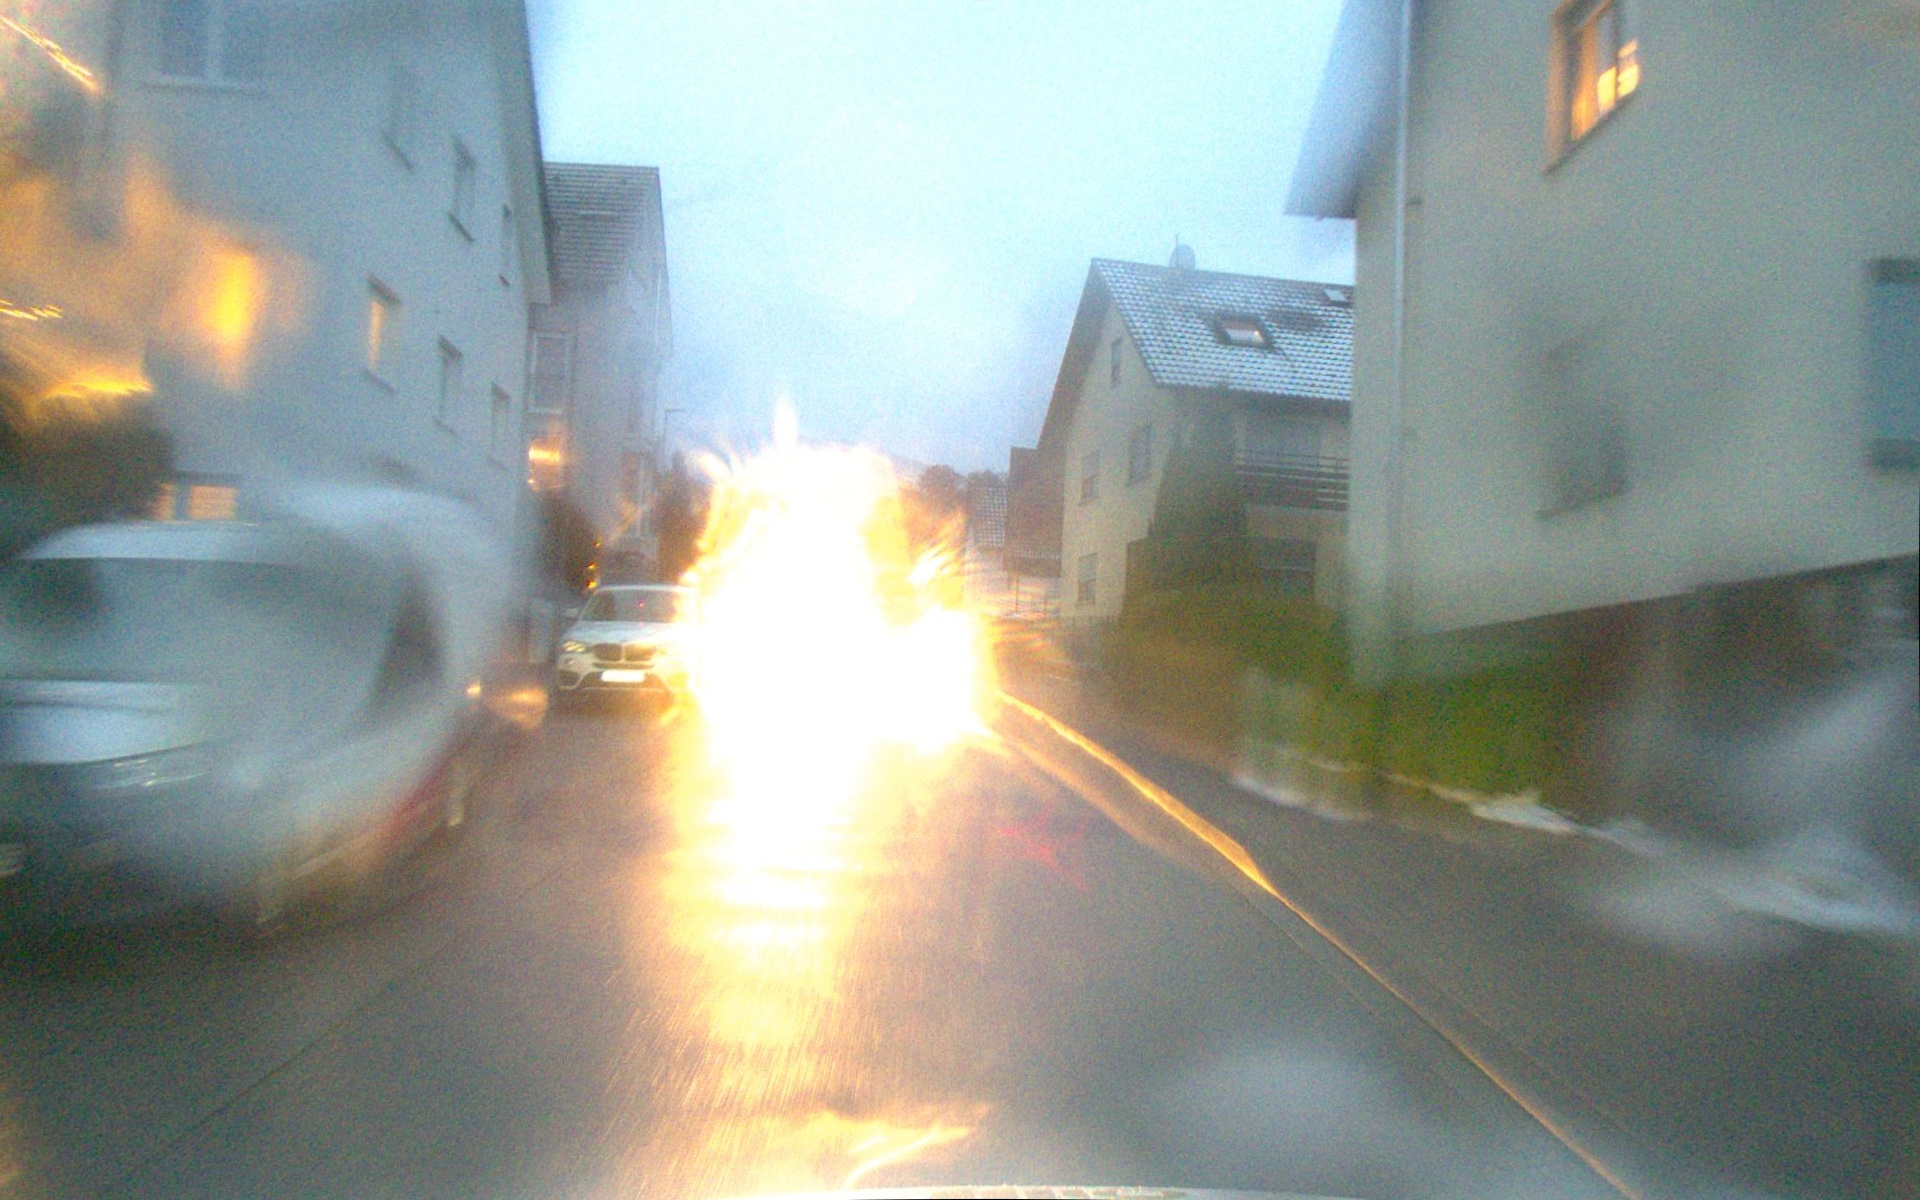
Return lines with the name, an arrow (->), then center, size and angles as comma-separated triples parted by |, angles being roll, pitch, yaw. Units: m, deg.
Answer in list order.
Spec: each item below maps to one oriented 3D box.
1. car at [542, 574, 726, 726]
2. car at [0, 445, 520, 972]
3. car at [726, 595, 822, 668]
car -> -4.242, 0.611, 22.108 | 1.955, 1.832, 3.996 | 1, 0, -5
car -> -3.600, 0.383, 8.043 | 1.788, 1.867, 4.344 | 1, 0, -1
car -> -4.483, 0.786, 40.407 | 1.953, 1.679, 3.999 | 0, -2, -1
